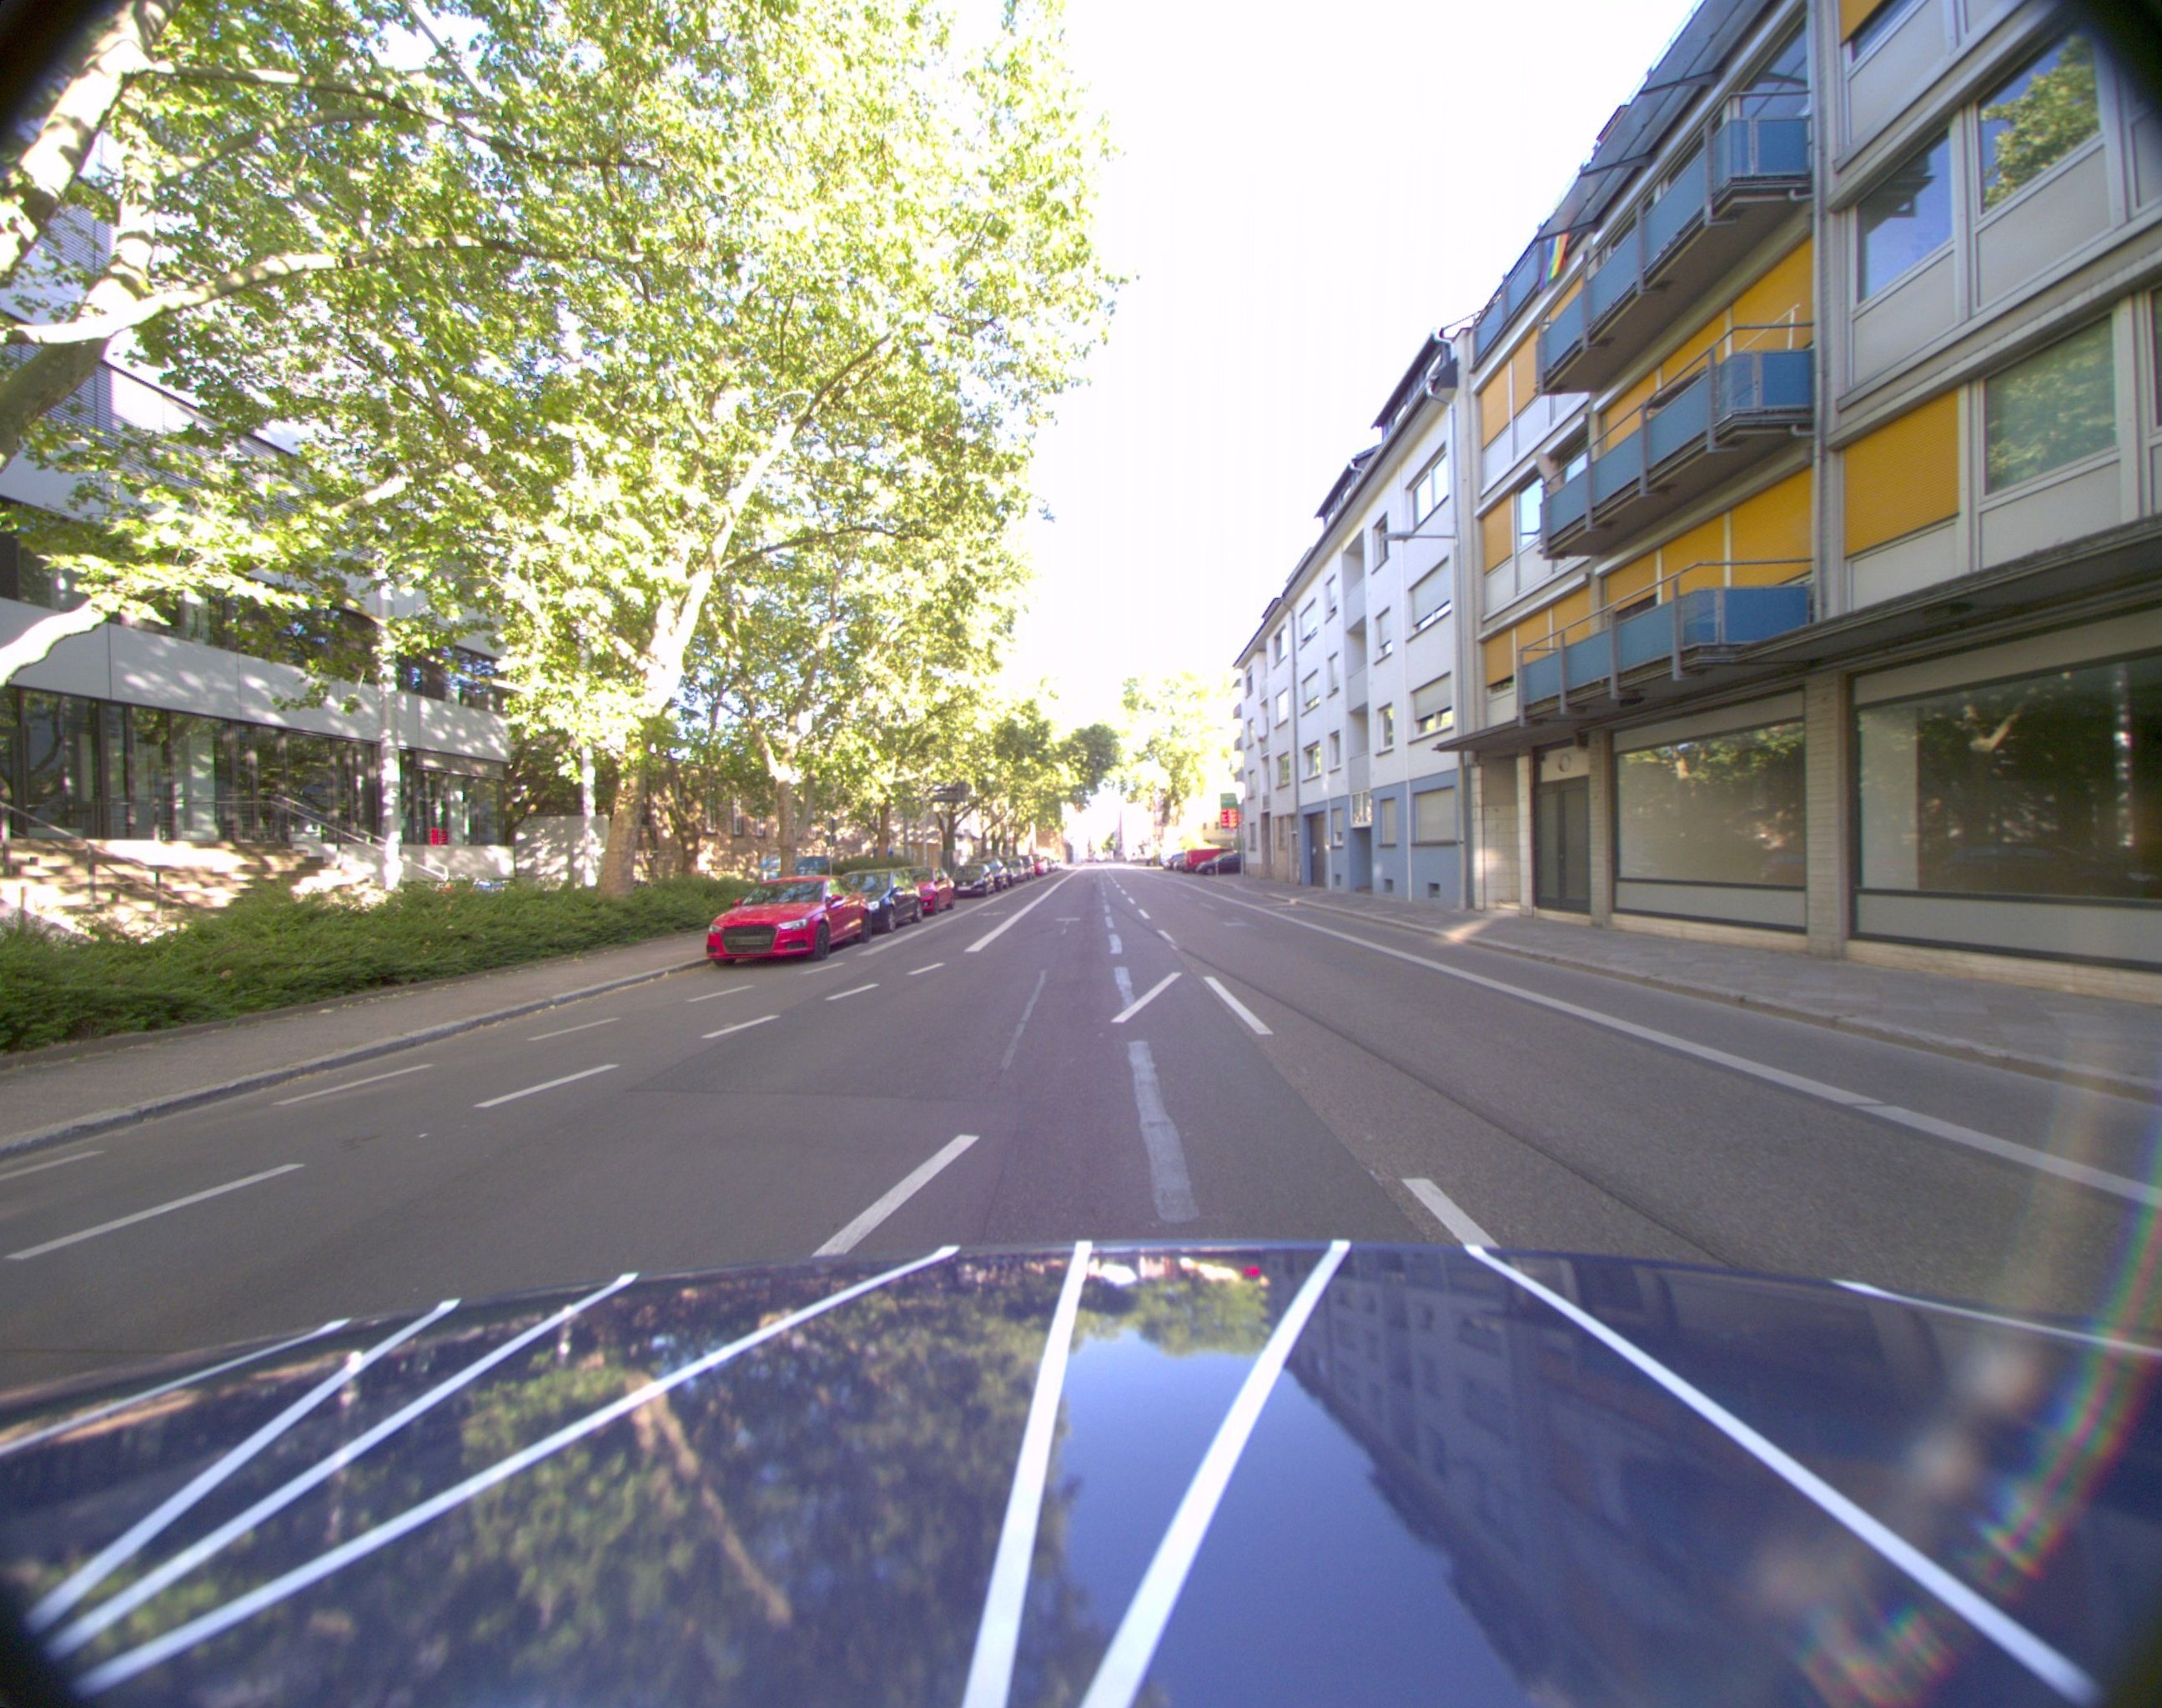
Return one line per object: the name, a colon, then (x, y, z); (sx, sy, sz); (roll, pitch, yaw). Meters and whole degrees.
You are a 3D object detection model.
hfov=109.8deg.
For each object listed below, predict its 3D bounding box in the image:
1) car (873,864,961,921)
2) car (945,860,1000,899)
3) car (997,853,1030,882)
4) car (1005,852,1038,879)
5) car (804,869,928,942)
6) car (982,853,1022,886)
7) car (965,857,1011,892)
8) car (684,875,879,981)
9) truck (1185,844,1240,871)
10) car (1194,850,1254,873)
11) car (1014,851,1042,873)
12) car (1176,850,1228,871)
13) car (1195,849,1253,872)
car: (-5.030, 1.123, 23.861); (1.818, 1.475, 4.163); (-3, 0, 0)
car: (-4.703, 1.077, 33.387); (1.790, 1.451, 4.163); (-3, 0, 0)
car: (-4.447, 0.852, 50.705); (1.790, 1.745, 4.552); (-3, 0, 0)
car: (-4.318, 0.796, 55.664); (2.042, 1.745, 4.552); (-3, 0, 0)
car: (-5.083, 1.169, 18.577); (1.818, 1.405, 4.163); (-3, 0, 0)
car: (-4.525, 0.868, 44.150); (1.790, 1.745, 4.345); (-3, 0, 0)
car: (-4.602, 0.977, 38.133); (1.790, 1.544, 4.163); (-3, 0, 0)
car: (-5.139, 1.192, 13.721); (1.818, 1.405, 4.163); (-3, 0, 0)
truck: (10.367, 0.245, 59.993); (3.996, 1.925, 1.761); (-2, 1, 2)
car: (10.253, 0.546, 54.796); (3.996, 1.449, 1.761); (-2, 1, 2)
car: (-4.592, 0.699, 66.094); (2.042, 1.745, 4.552); (-3, 0, 0)
car: (9.977, 0.525, 62.846); (3.996, 1.494, 1.761); (-2, 1, 2)
car: (10.727, 0.479, 57.144); (3.996, 1.494, 1.761); (-2, 1, 2)
